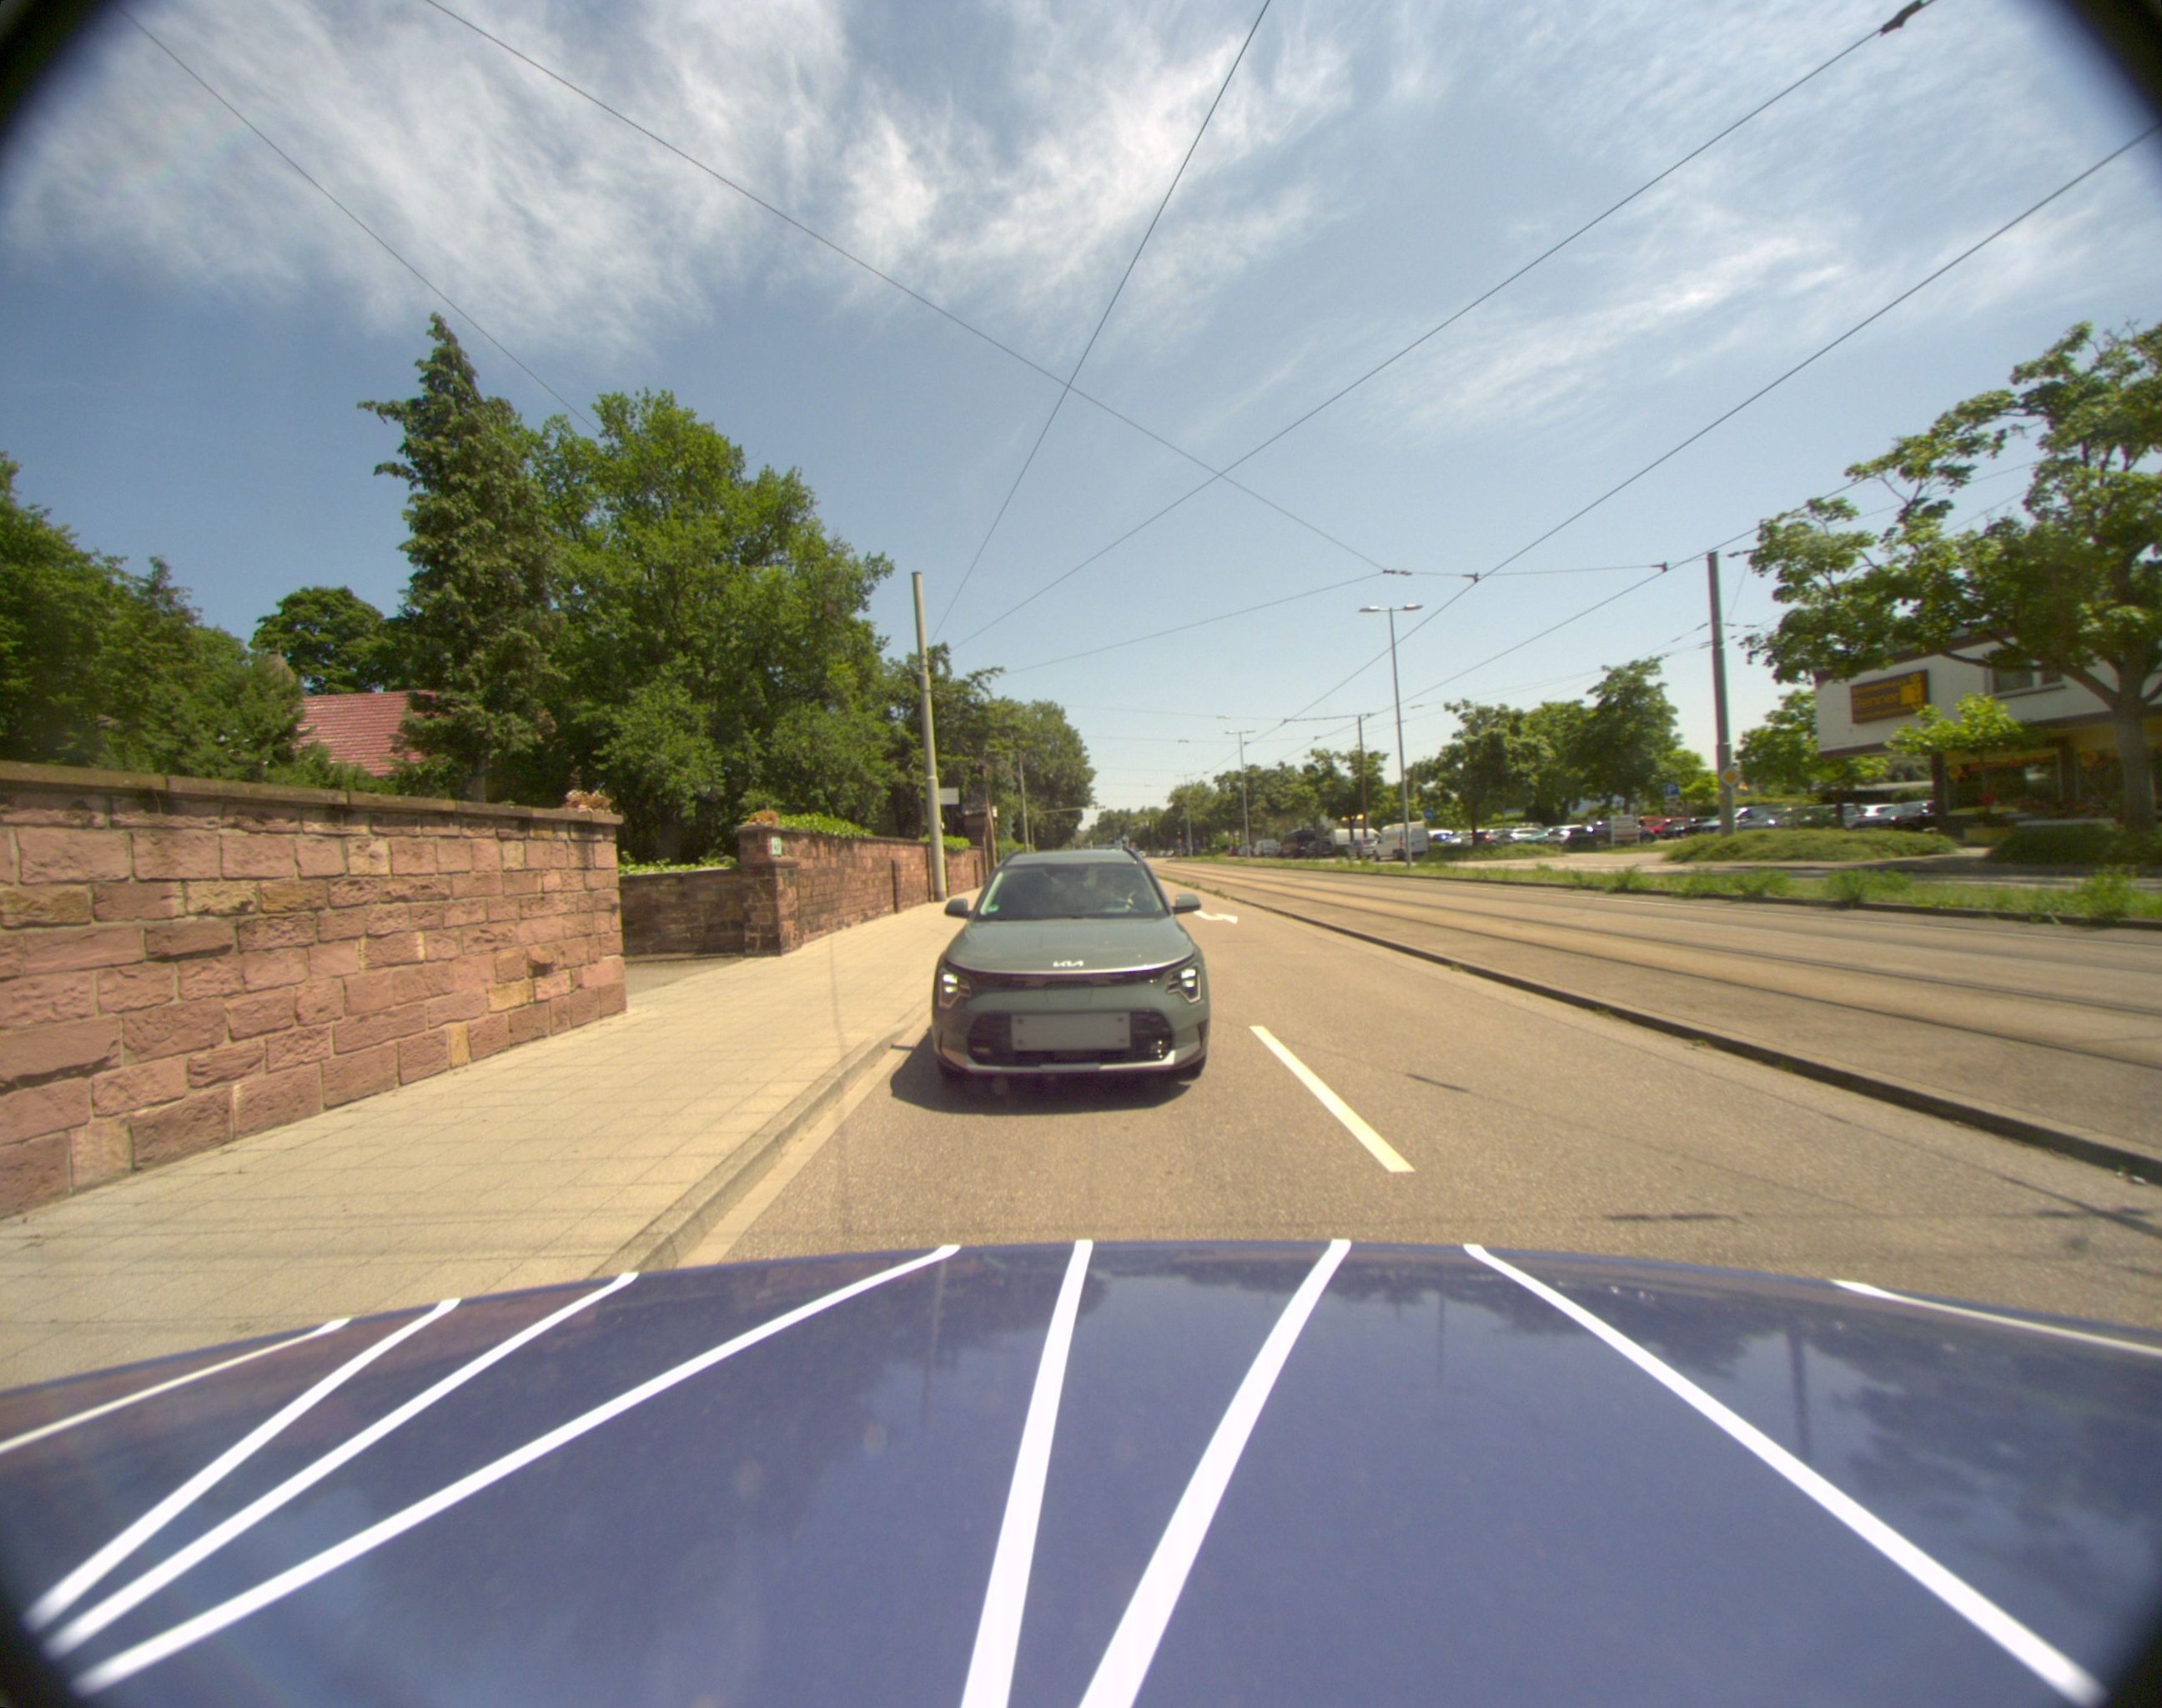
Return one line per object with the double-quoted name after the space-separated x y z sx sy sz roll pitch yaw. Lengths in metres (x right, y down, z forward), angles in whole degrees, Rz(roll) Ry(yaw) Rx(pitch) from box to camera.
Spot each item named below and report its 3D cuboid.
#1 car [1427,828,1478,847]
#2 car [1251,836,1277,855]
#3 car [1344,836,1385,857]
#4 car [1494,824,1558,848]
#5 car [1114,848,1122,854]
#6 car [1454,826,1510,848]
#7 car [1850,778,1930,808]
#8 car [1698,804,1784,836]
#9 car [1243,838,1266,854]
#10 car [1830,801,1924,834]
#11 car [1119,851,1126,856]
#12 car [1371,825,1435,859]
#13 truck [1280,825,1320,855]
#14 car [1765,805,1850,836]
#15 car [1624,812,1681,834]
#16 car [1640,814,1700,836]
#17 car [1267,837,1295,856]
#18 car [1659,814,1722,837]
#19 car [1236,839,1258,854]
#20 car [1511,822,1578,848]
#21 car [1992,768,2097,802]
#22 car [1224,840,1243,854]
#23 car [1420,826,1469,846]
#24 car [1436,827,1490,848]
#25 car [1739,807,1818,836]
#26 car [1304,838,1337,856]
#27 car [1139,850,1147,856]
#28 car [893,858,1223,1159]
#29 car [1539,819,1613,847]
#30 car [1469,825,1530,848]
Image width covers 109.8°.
30.725 -1.365 62.938 3.414 1.386 1.603 -4 1 -5 "car"
20.255 -0.889 84.253 1.681 1.963 4.509 -4 0 0 "car"
20.176 -0.530 54.199 1.675 1.378 3.569 -3 0 2 "car"
30.597 -1.239 52.303 3.414 1.386 1.603 -4 1 -5 "car"
10.403 -0.871 215.434 1.998 1.652 4.000 -3 0 0 "car"
30.450 -1.295 57.710 3.414 1.386 1.603 -4 1 -5 "car"
63.542 -4.772 59.723 3.996 2.002 2.000 -3 1 2 "car"
43.018 -2.186 49.567 3.998 1.774 1.813 -4 1 -2 "car"
20.628 -0.908 90.338 1.681 1.783 4.202 -4 0 0 "car"
43.698 -1.977 41.754 3.492 1.528 1.624 -4 1 -2 "car"
13.074 -0.153 241.890 1.998 1.652 4.000 -4 0 0 "car"
20.193 -0.722 47.833 1.998 1.872 4.661 -4 0 1 "car"
20.220 -1.250 70.295 2.225 2.526 4.929 -4 0 1 "truck"
42.629 -1.939 44.638 3.492 1.528 1.624 -4 1 -2 "car"
44.981 -2.430 59.812 3.355 1.552 1.506 -4 1 -2 "car"
44.211 -2.178 57.084 3.355 1.450 1.506 -4 1 -2 "car"
20.694 -0.790 78.761 1.681 1.783 3.868 -4 0 0 "car"
43.794 -2.051 54.639 3.355 1.381 1.506 -4 1 -2 "car"
20.693 -0.876 94.744 1.681 1.783 4.202 -3 0 0 "car"
30.270 -1.246 49.661 3.414 1.482 1.598 -4 1 -5 "car"
61.211 -4.379 48.317 3.996 1.761 2.000 -3 1 2 "car"
20.312 -0.931 101.197 1.681 1.693 3.823 -4 0 0 "car"
31.305 -1.506 65.512 3.414 1.497 1.603 -4 1 -5 "car"
30.194 -1.312 60.117 3.414 1.386 1.603 -4 1 -5 "car"
43.258 -2.005 47.168 3.492 1.528 1.534 -4 1 -2 "car"
20.176 -0.613 64.238 1.675 1.378 3.669 -3 0 2 "car"
16.135 -0.197 197.244 1.737 1.469 4.000 -4 0 0 "car"
-0.102 0.878 6.350 1.789 1.561 4.184 -2 1 1 "car"
30.806 -1.272 47.365 3.414 1.482 1.793 -4 0 -5 "car"
30.029 -1.242 54.563 3.414 1.386 1.603 -4 1 -5 "car"
